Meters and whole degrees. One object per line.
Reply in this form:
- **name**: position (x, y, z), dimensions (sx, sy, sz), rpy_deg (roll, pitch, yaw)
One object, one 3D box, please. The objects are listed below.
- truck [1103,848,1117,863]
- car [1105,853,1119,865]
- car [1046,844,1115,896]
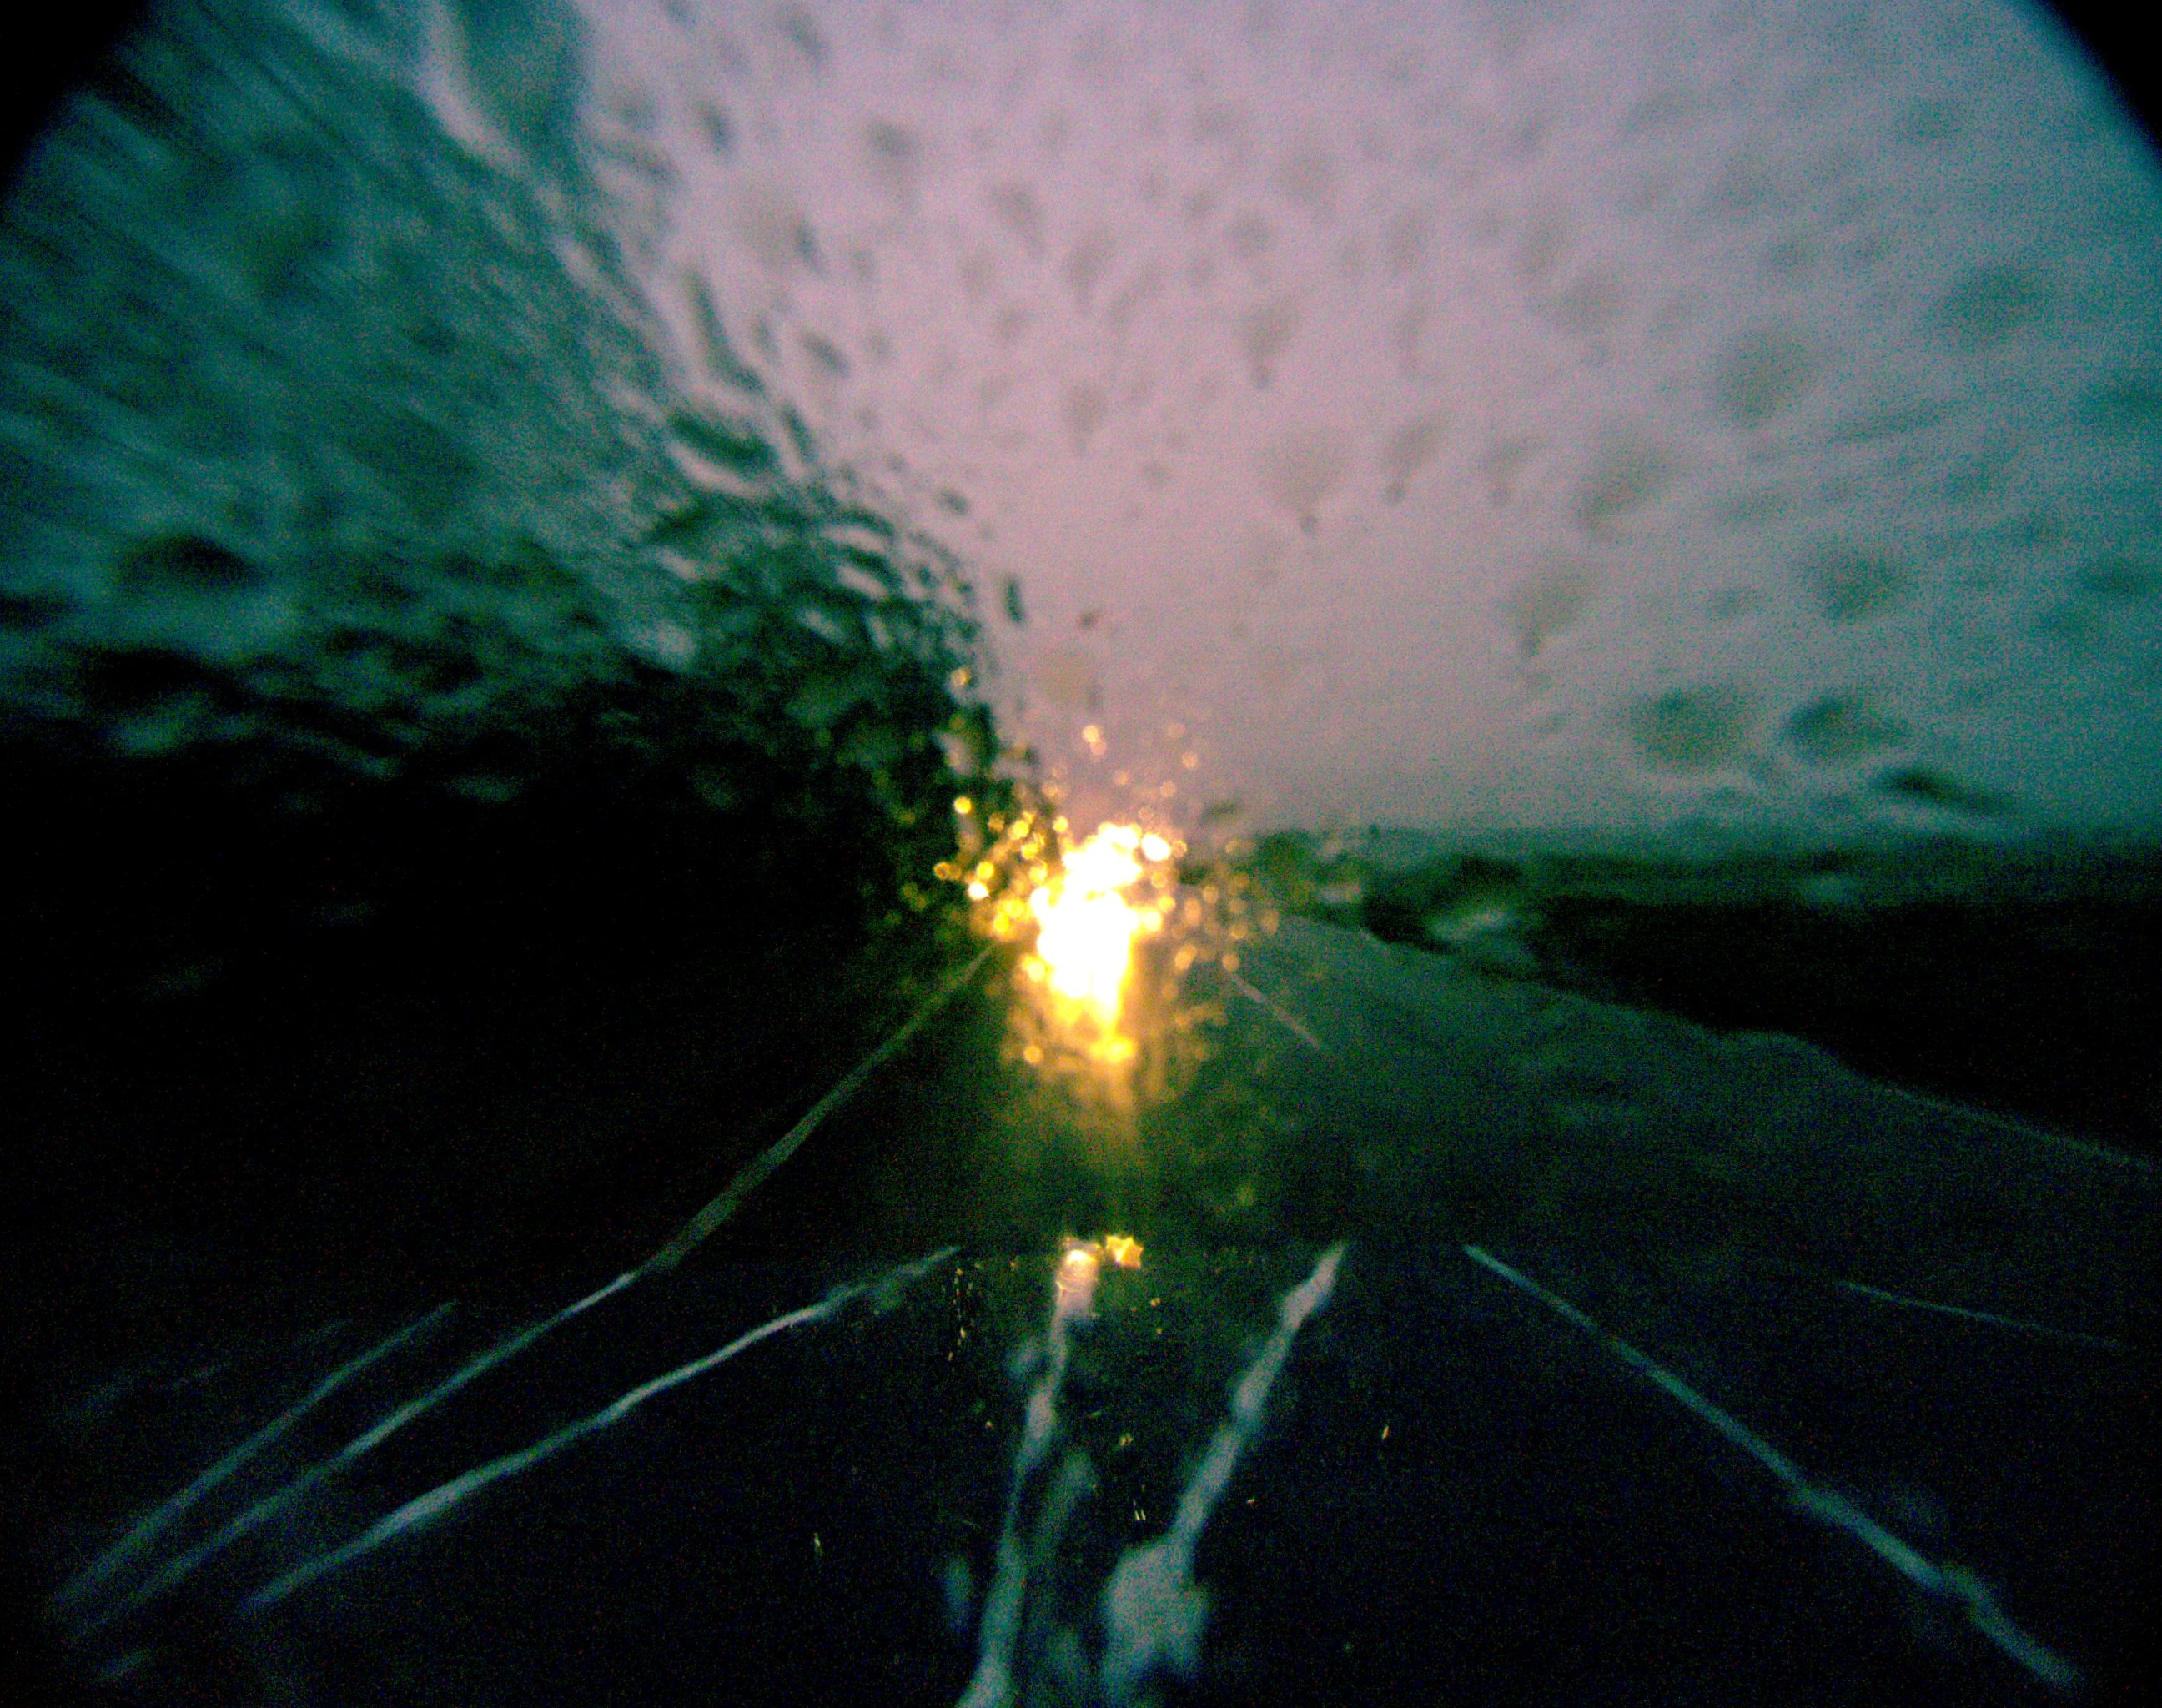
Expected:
- **truck**: position (5.339, 0.281, 141.218), dimensions (2.275, 2.619, 7.034), rpy_deg (1, 0, 0)
- **car**: position (4.593, 0.716, 112.743), dimensions (1.998, 1.812, 4.000), rpy_deg (1, 0, 0)
- **car**: position (0.054, 0.632, 33.745), dimensions (2.704, 1.974, 5.804), rpy_deg (-3, 0, 2)
